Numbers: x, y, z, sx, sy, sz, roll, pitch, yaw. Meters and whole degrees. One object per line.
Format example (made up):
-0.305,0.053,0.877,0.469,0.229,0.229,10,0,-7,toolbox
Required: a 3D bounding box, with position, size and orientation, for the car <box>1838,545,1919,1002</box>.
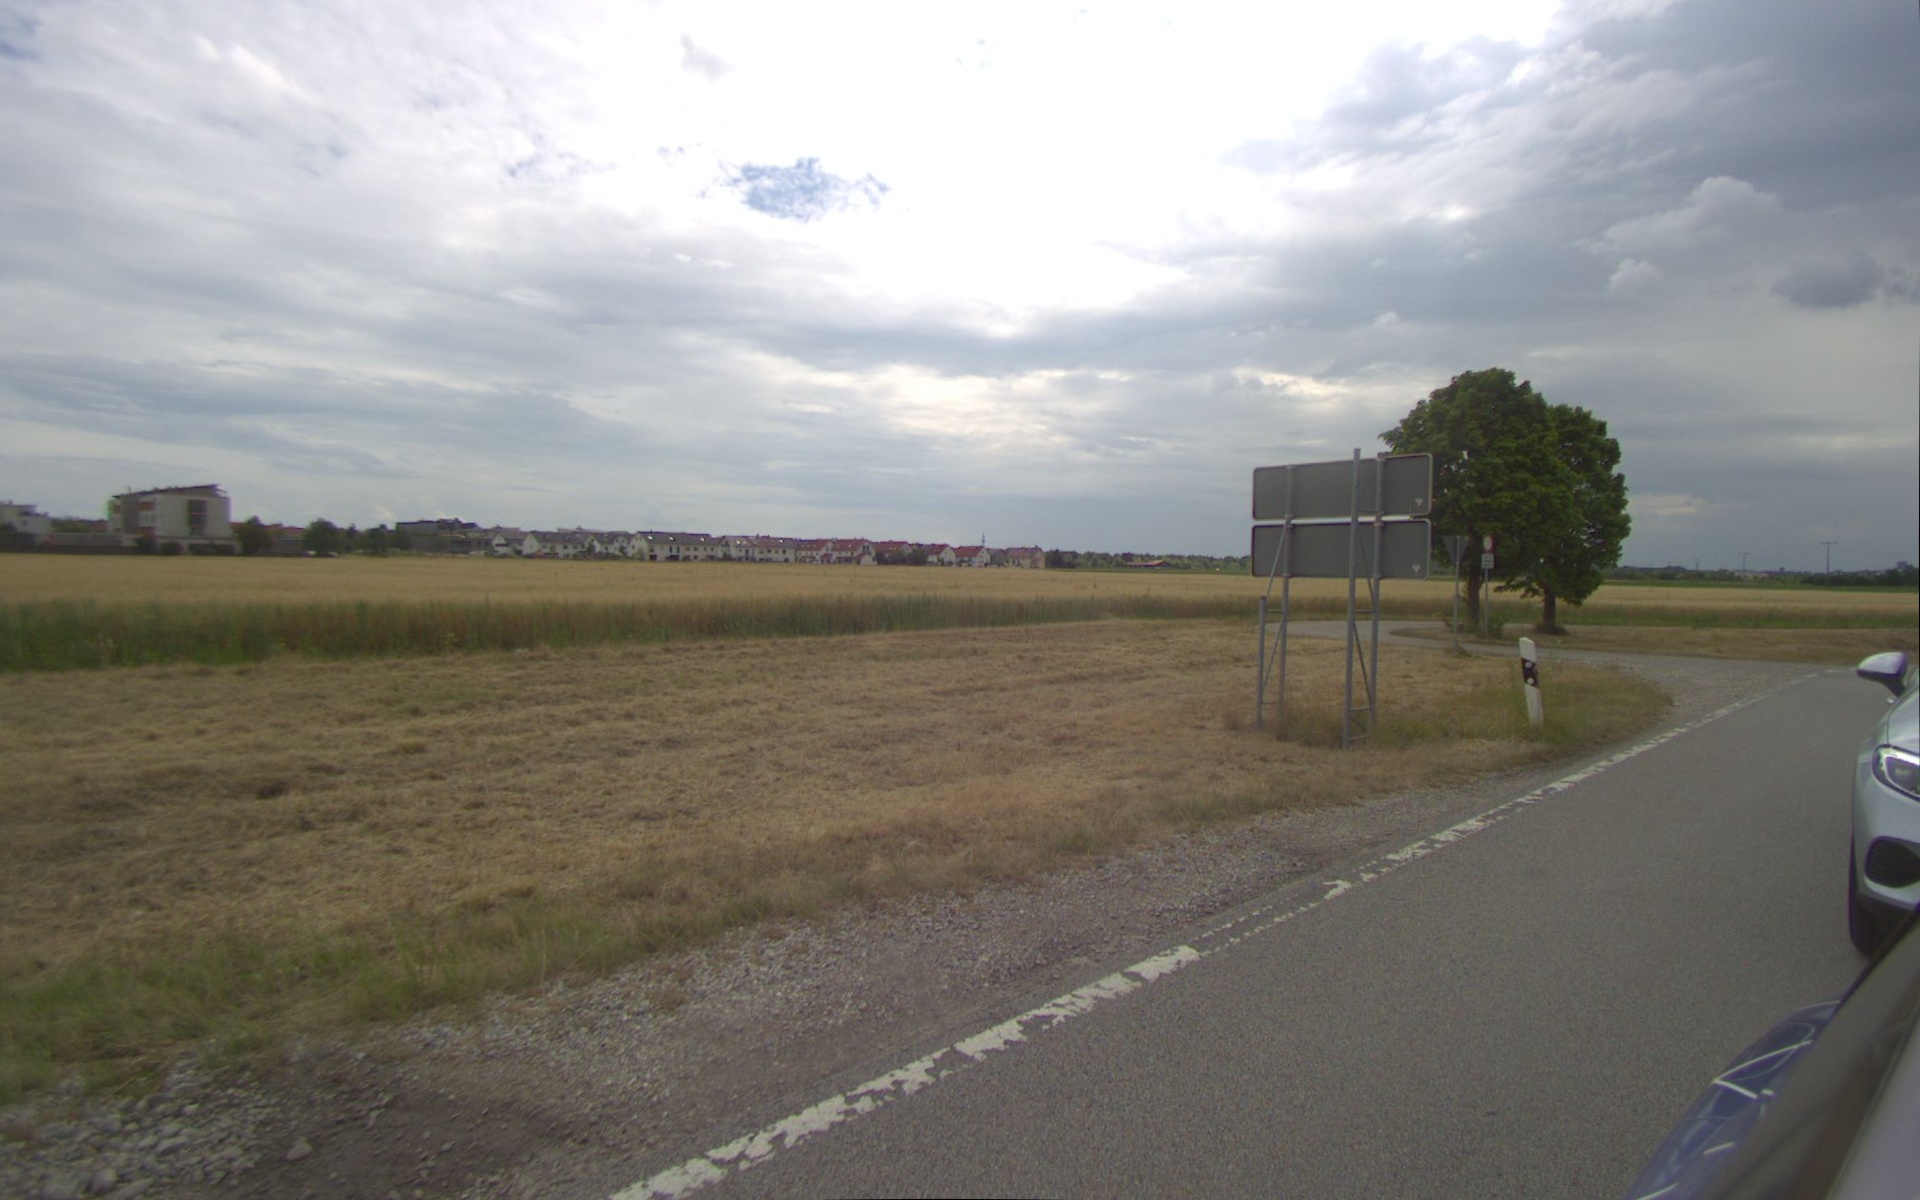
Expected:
5.436,0.617,4.556,4.376,1.606,1.834,0,1,-44,car
